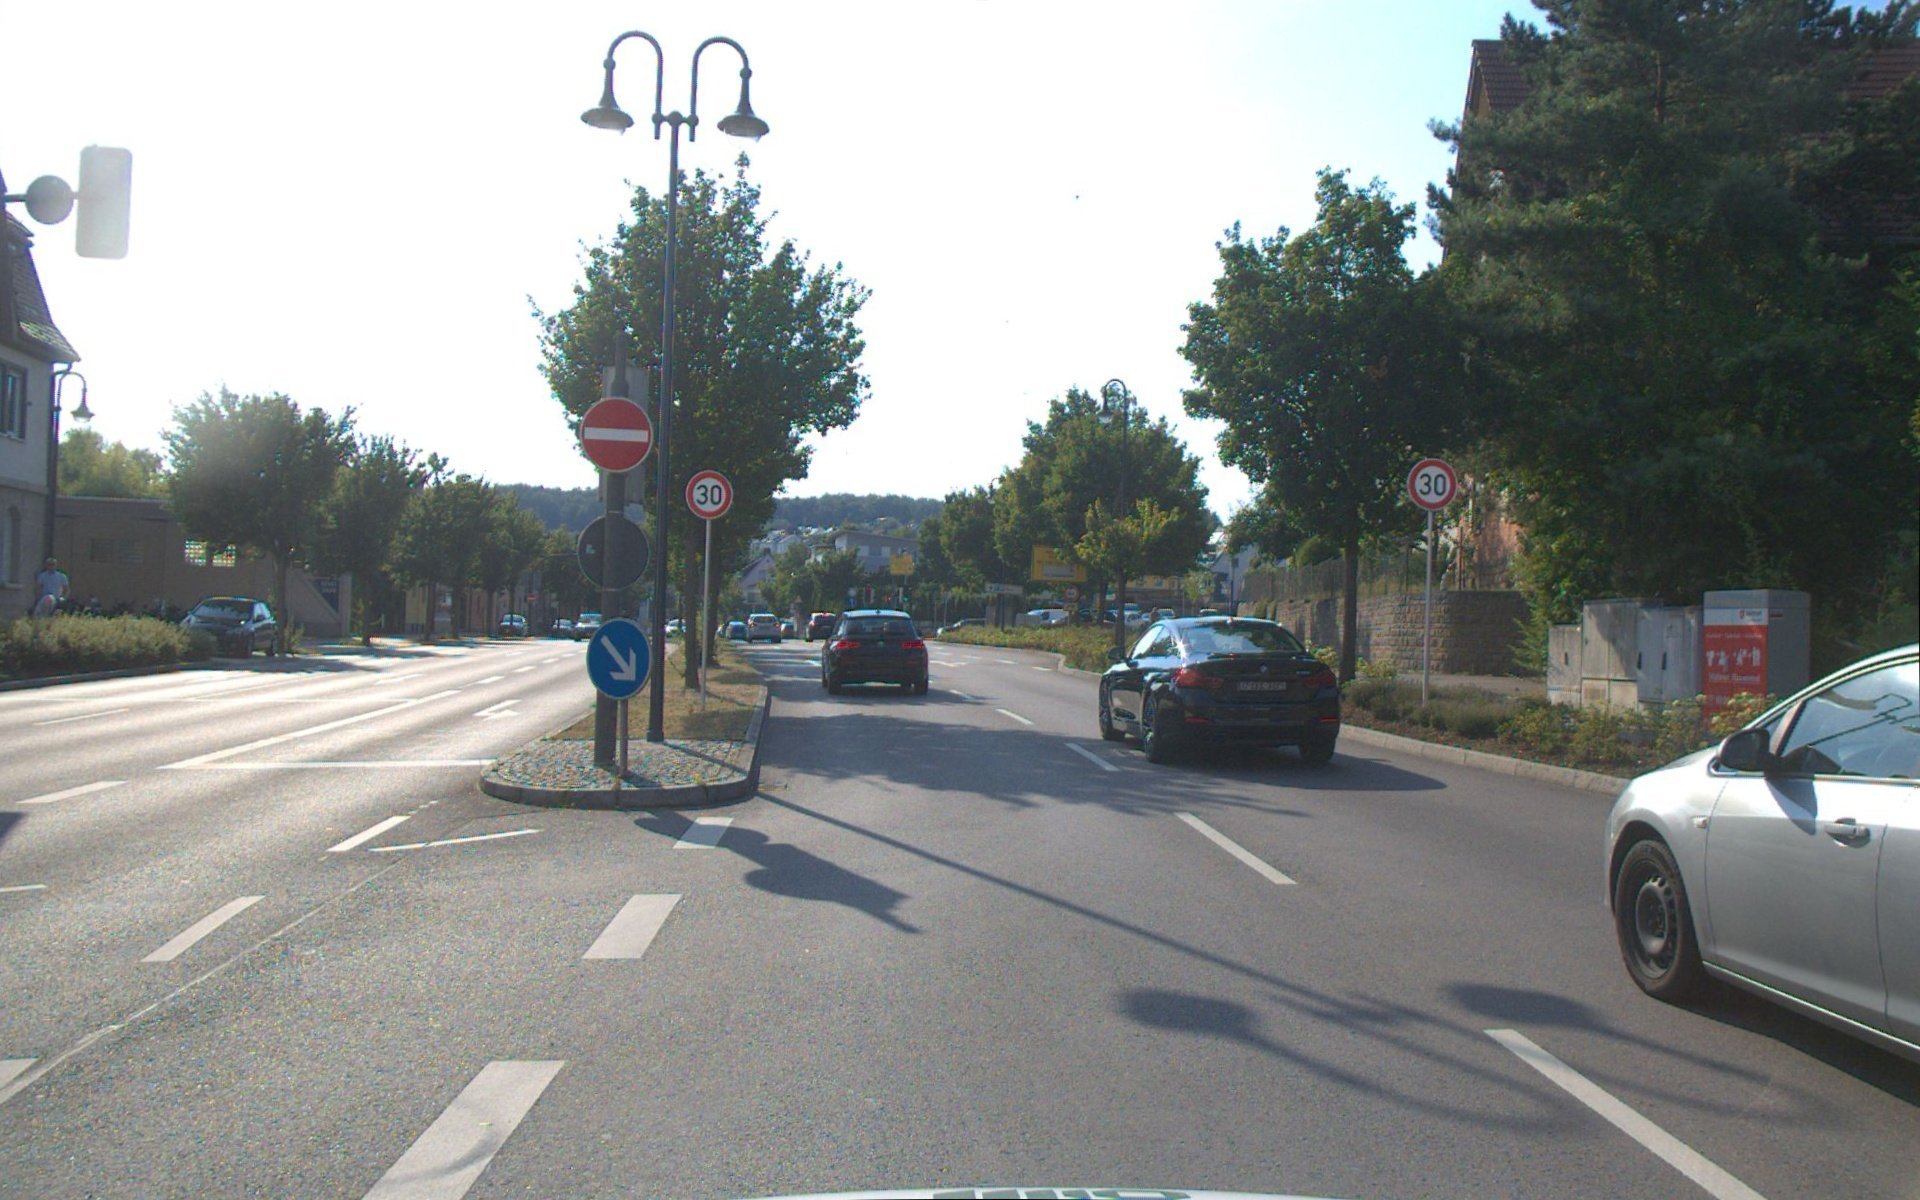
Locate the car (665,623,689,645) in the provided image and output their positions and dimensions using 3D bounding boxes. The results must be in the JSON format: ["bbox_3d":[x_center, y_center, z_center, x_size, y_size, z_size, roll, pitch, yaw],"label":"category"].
[{"bbox_3d":[-21.921,2.626,128.182,1.697,1.708,3.993,0,-1,-7],"label":"car"}]

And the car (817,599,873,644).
[{"bbox_3d":[-4.775,0.872,68.170,1.889,1.800,4.444,0,-1,-9],"label":"car"}]

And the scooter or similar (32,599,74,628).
[{"bbox_3d":[-18.854,0.278,34.387,0.435,0.592,1.041,0,0,-10],"label":"scooter or similar"}]

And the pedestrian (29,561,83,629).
[{"bbox_3d":[-19.226,-0.099,35.201,0.797,1.418,0.705,0,-1,-10],"label":"pedestrian"}]

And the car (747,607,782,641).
[{"bbox_3d":[-10.465,1.262,88.332,1.723,1.800,3.962,0,-1,-9],"label":"car"}]

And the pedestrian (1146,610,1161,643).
[{"bbox_3d":[10.319,1.417,88.436,0.681,1.732,0.950,0,-1,-1],"label":"pedestrian"}]

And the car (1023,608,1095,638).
[{"bbox_3d":[7.302,1.707,121.423,5.062,2.167,2.121,1,-1,-34],"label":"car"}]

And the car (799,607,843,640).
[{"bbox_3d":[-8.014,1.345,94.916,2.176,1.800,4.444,0,-1,-9],"label":"car"}]

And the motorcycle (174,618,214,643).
[{"bbox_3d":[-30.760,1.218,66.407,0.505,1.022,1.542,0,-1,22],"label":"motorcycle"}]

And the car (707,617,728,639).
[{"bbox_3d":[-23.601,2.731,160.863,1.738,2.049,3.996,0,0,-4],"label":"car"}]

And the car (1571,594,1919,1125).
[{"bbox_3d":[3.571,0.741,5.068,1.686,1.516,4.304,0,0,-2],"label":"car"}]

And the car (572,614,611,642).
[{"bbox_3d":[-18.853,1.418,84.649,1.724,1.385,4.473,0,-1,-10],"label":"car"}]

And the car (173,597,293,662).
[{"bbox_3d":[-18.899,0.761,43.162,1.724,1.479,4.124,5,-1,-8],"label":"car"}]

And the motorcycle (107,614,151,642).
[{"bbox_3d":[-33.284,1.120,66.258,0.505,1.088,1.636,0,-1,23],"label":"motorcycle"}]

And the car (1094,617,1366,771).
[{"bbox_3d":[2.623,0.878,17.138,1.882,1.388,4.349,0,-1,-3],"label":"car"}]

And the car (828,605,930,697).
[{"bbox_3d":[-1.415,0.872,29.889,1.686,1.516,4.351,1,-1,-2],"label":"car"}]
